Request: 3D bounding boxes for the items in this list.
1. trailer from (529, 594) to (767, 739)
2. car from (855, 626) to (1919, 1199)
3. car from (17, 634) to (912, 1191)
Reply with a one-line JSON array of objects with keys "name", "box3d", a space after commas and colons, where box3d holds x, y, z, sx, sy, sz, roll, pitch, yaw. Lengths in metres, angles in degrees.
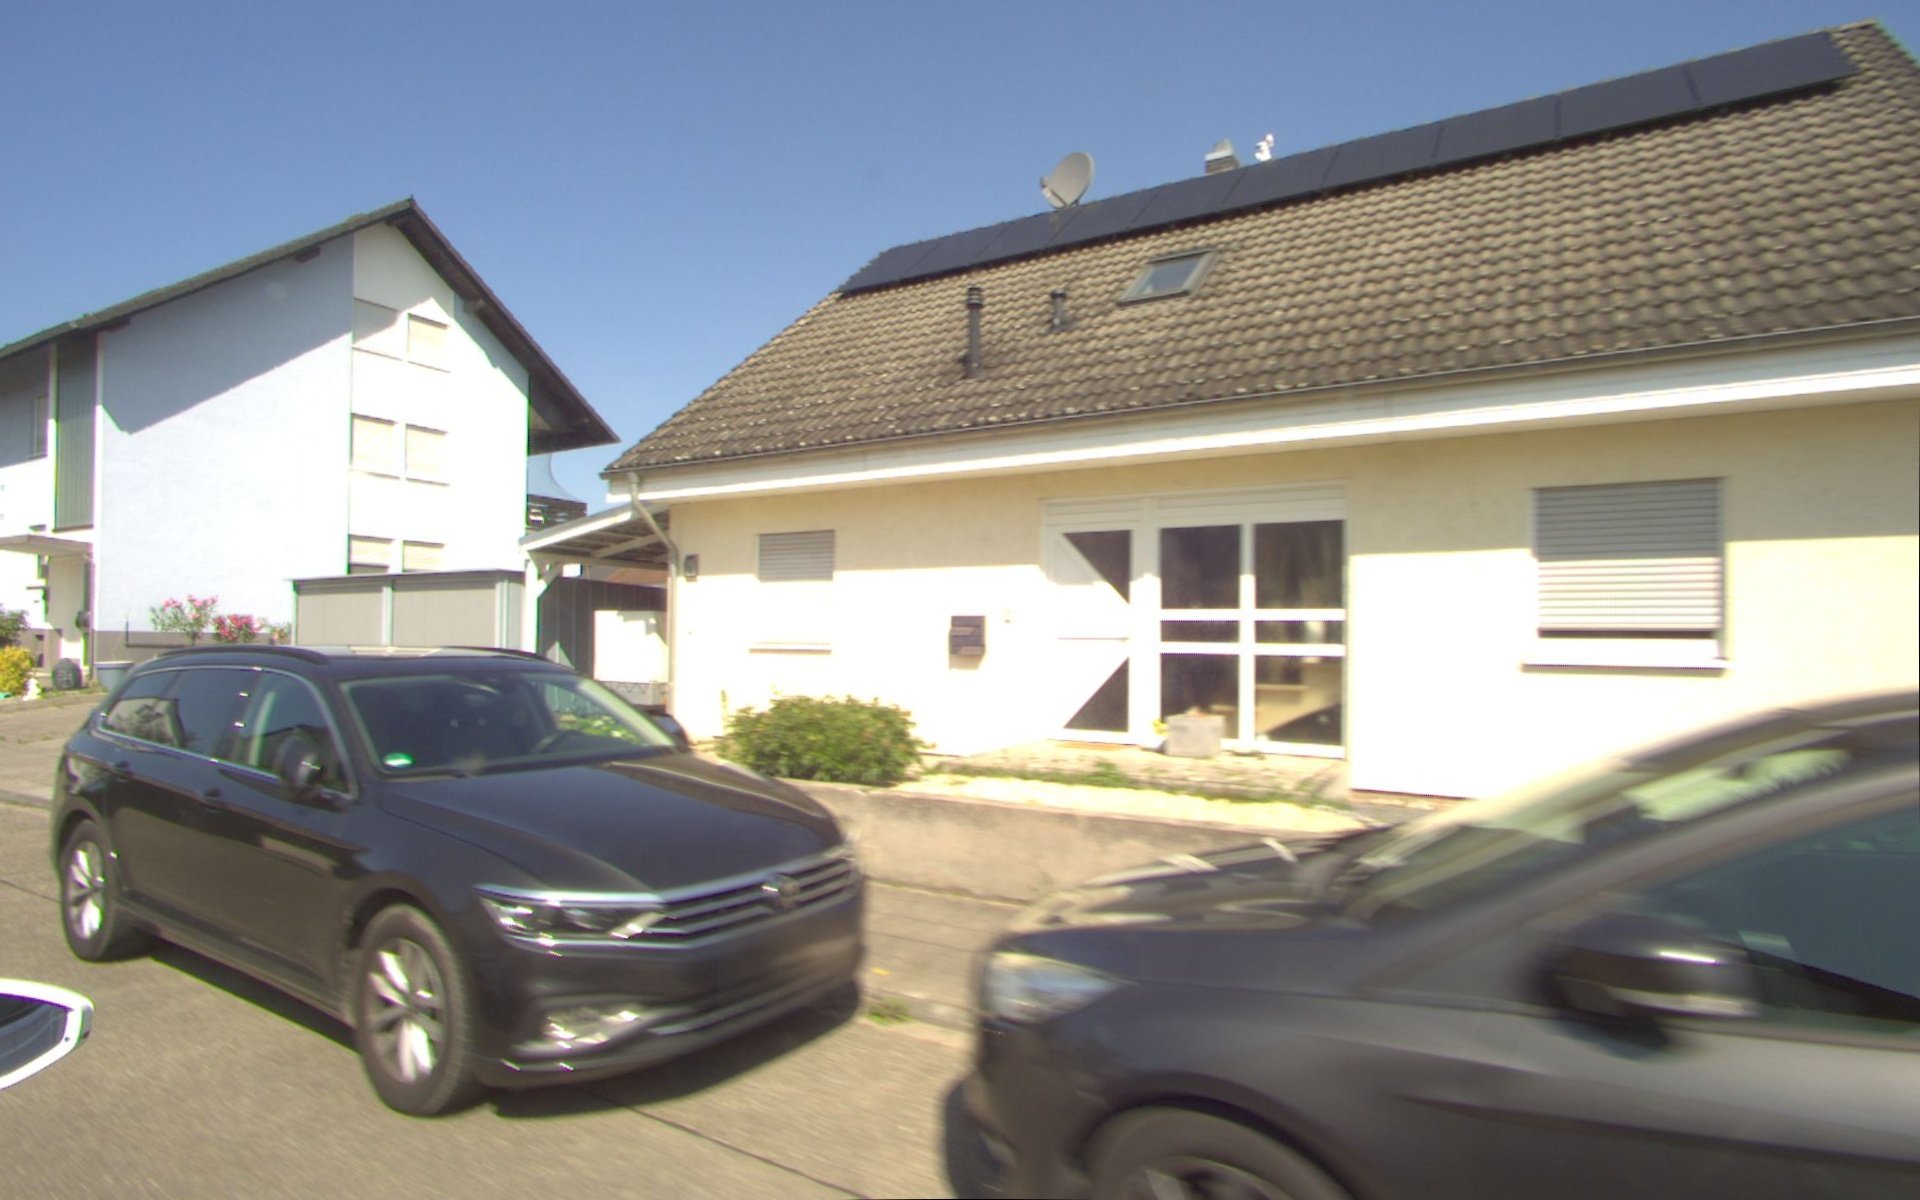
[{"name": "trailer", "box3d": [-4.070, 0.830, 13.397, 1.382, 1.712, 2.830, 0, -1, 32]}, {"name": "car", "box3d": [1.877, 0.867, 1.991, 3.940, 1.497, 1.641, 0, -3, 31]}, {"name": "car", "box3d": [-2.518, 0.907, 4.643, 4.439, 1.457, 1.714, -1, -2, 33]}]
